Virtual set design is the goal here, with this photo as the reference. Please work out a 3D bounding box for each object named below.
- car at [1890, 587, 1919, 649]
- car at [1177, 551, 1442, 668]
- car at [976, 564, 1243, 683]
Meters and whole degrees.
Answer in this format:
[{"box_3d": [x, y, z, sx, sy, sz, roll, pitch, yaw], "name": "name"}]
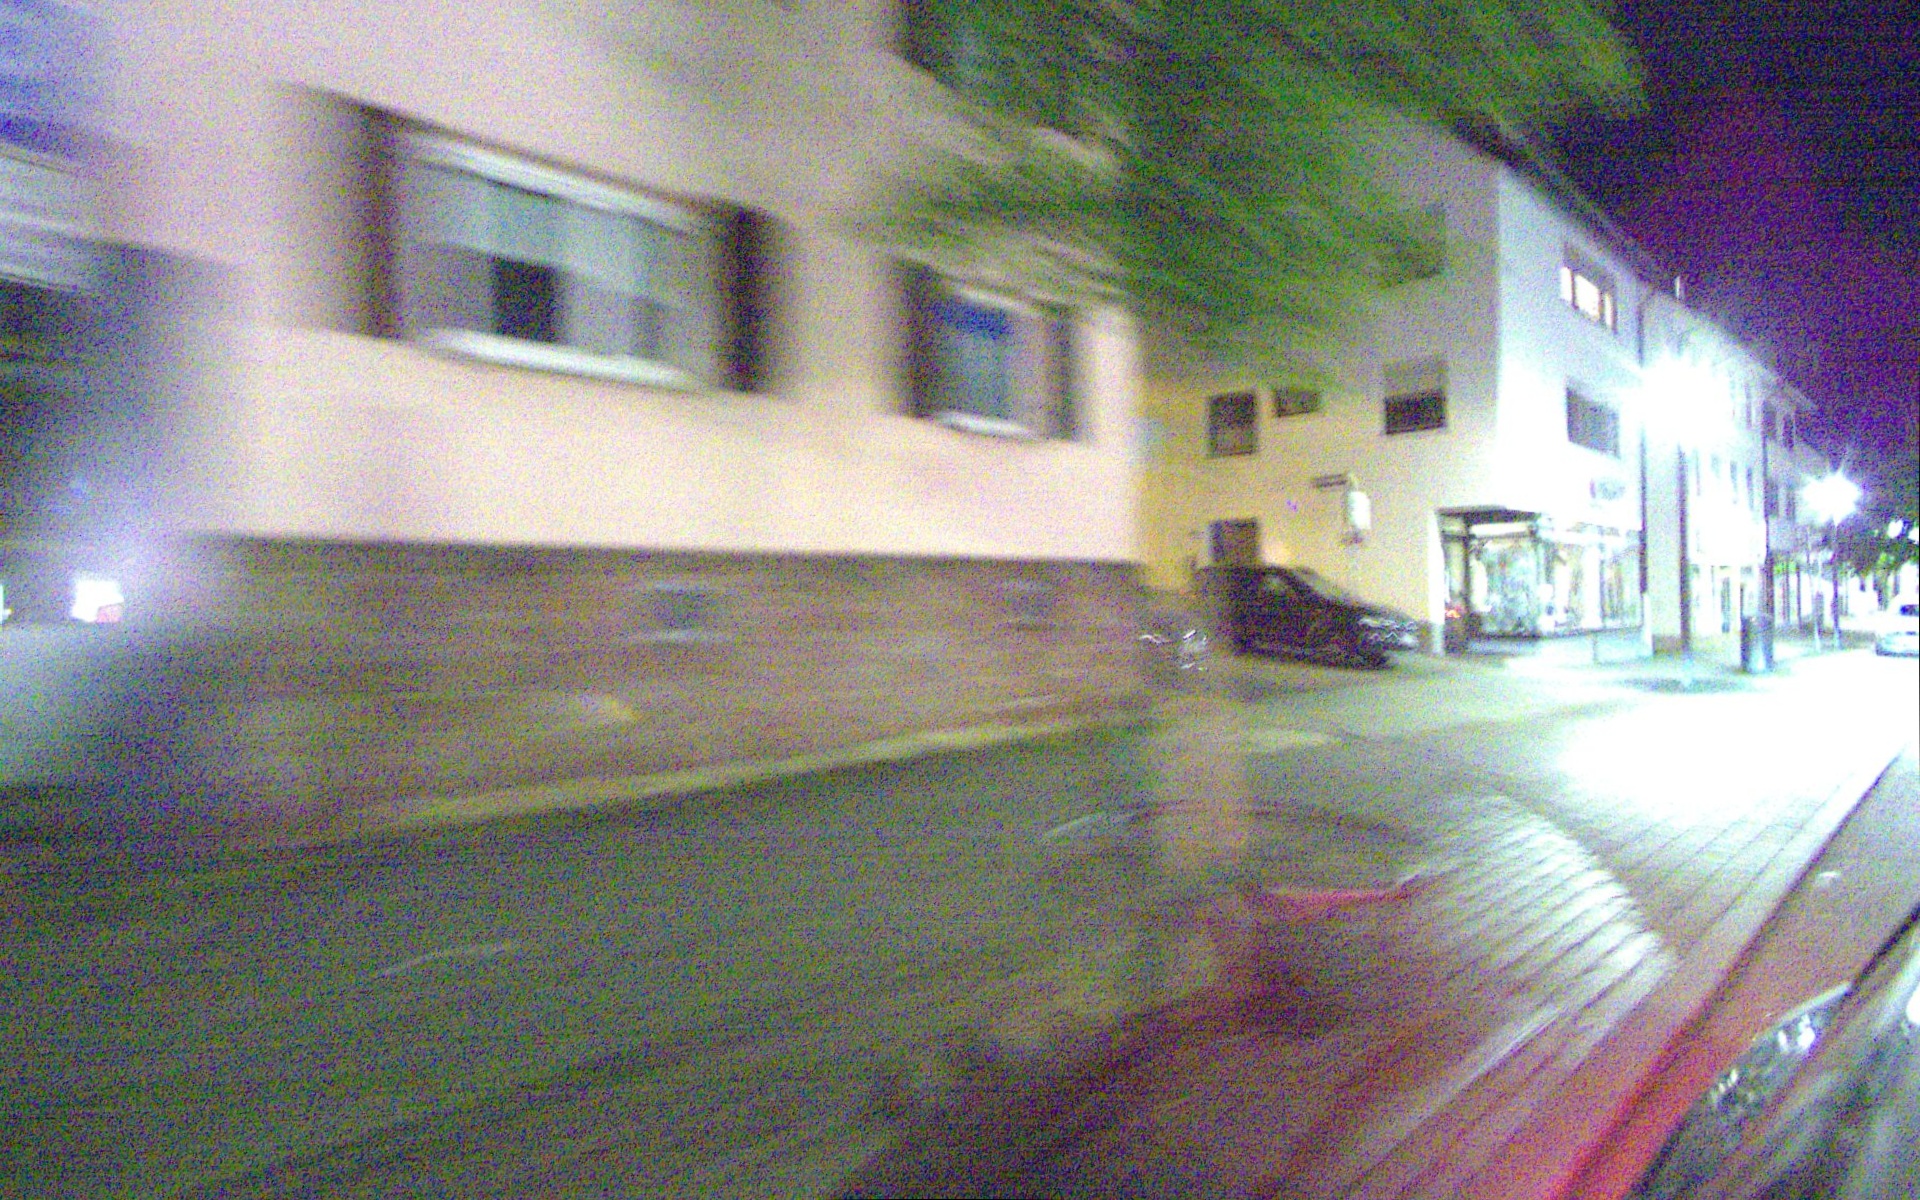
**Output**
[{"box_3d": [24.590, 0.428, 25.392, 3.637, 1.502, 1.604, -1, 1, -43], "name": "car"}, {"box_3d": [5.861, 0.082, 17.307, 1.617, 1.606, 3.911, 0, 4, -43], "name": "car"}, {"box_3d": [2.011, 0.243, 14.242, 1.617, 1.298, 3.399, 0, 4, -43], "name": "car"}]
